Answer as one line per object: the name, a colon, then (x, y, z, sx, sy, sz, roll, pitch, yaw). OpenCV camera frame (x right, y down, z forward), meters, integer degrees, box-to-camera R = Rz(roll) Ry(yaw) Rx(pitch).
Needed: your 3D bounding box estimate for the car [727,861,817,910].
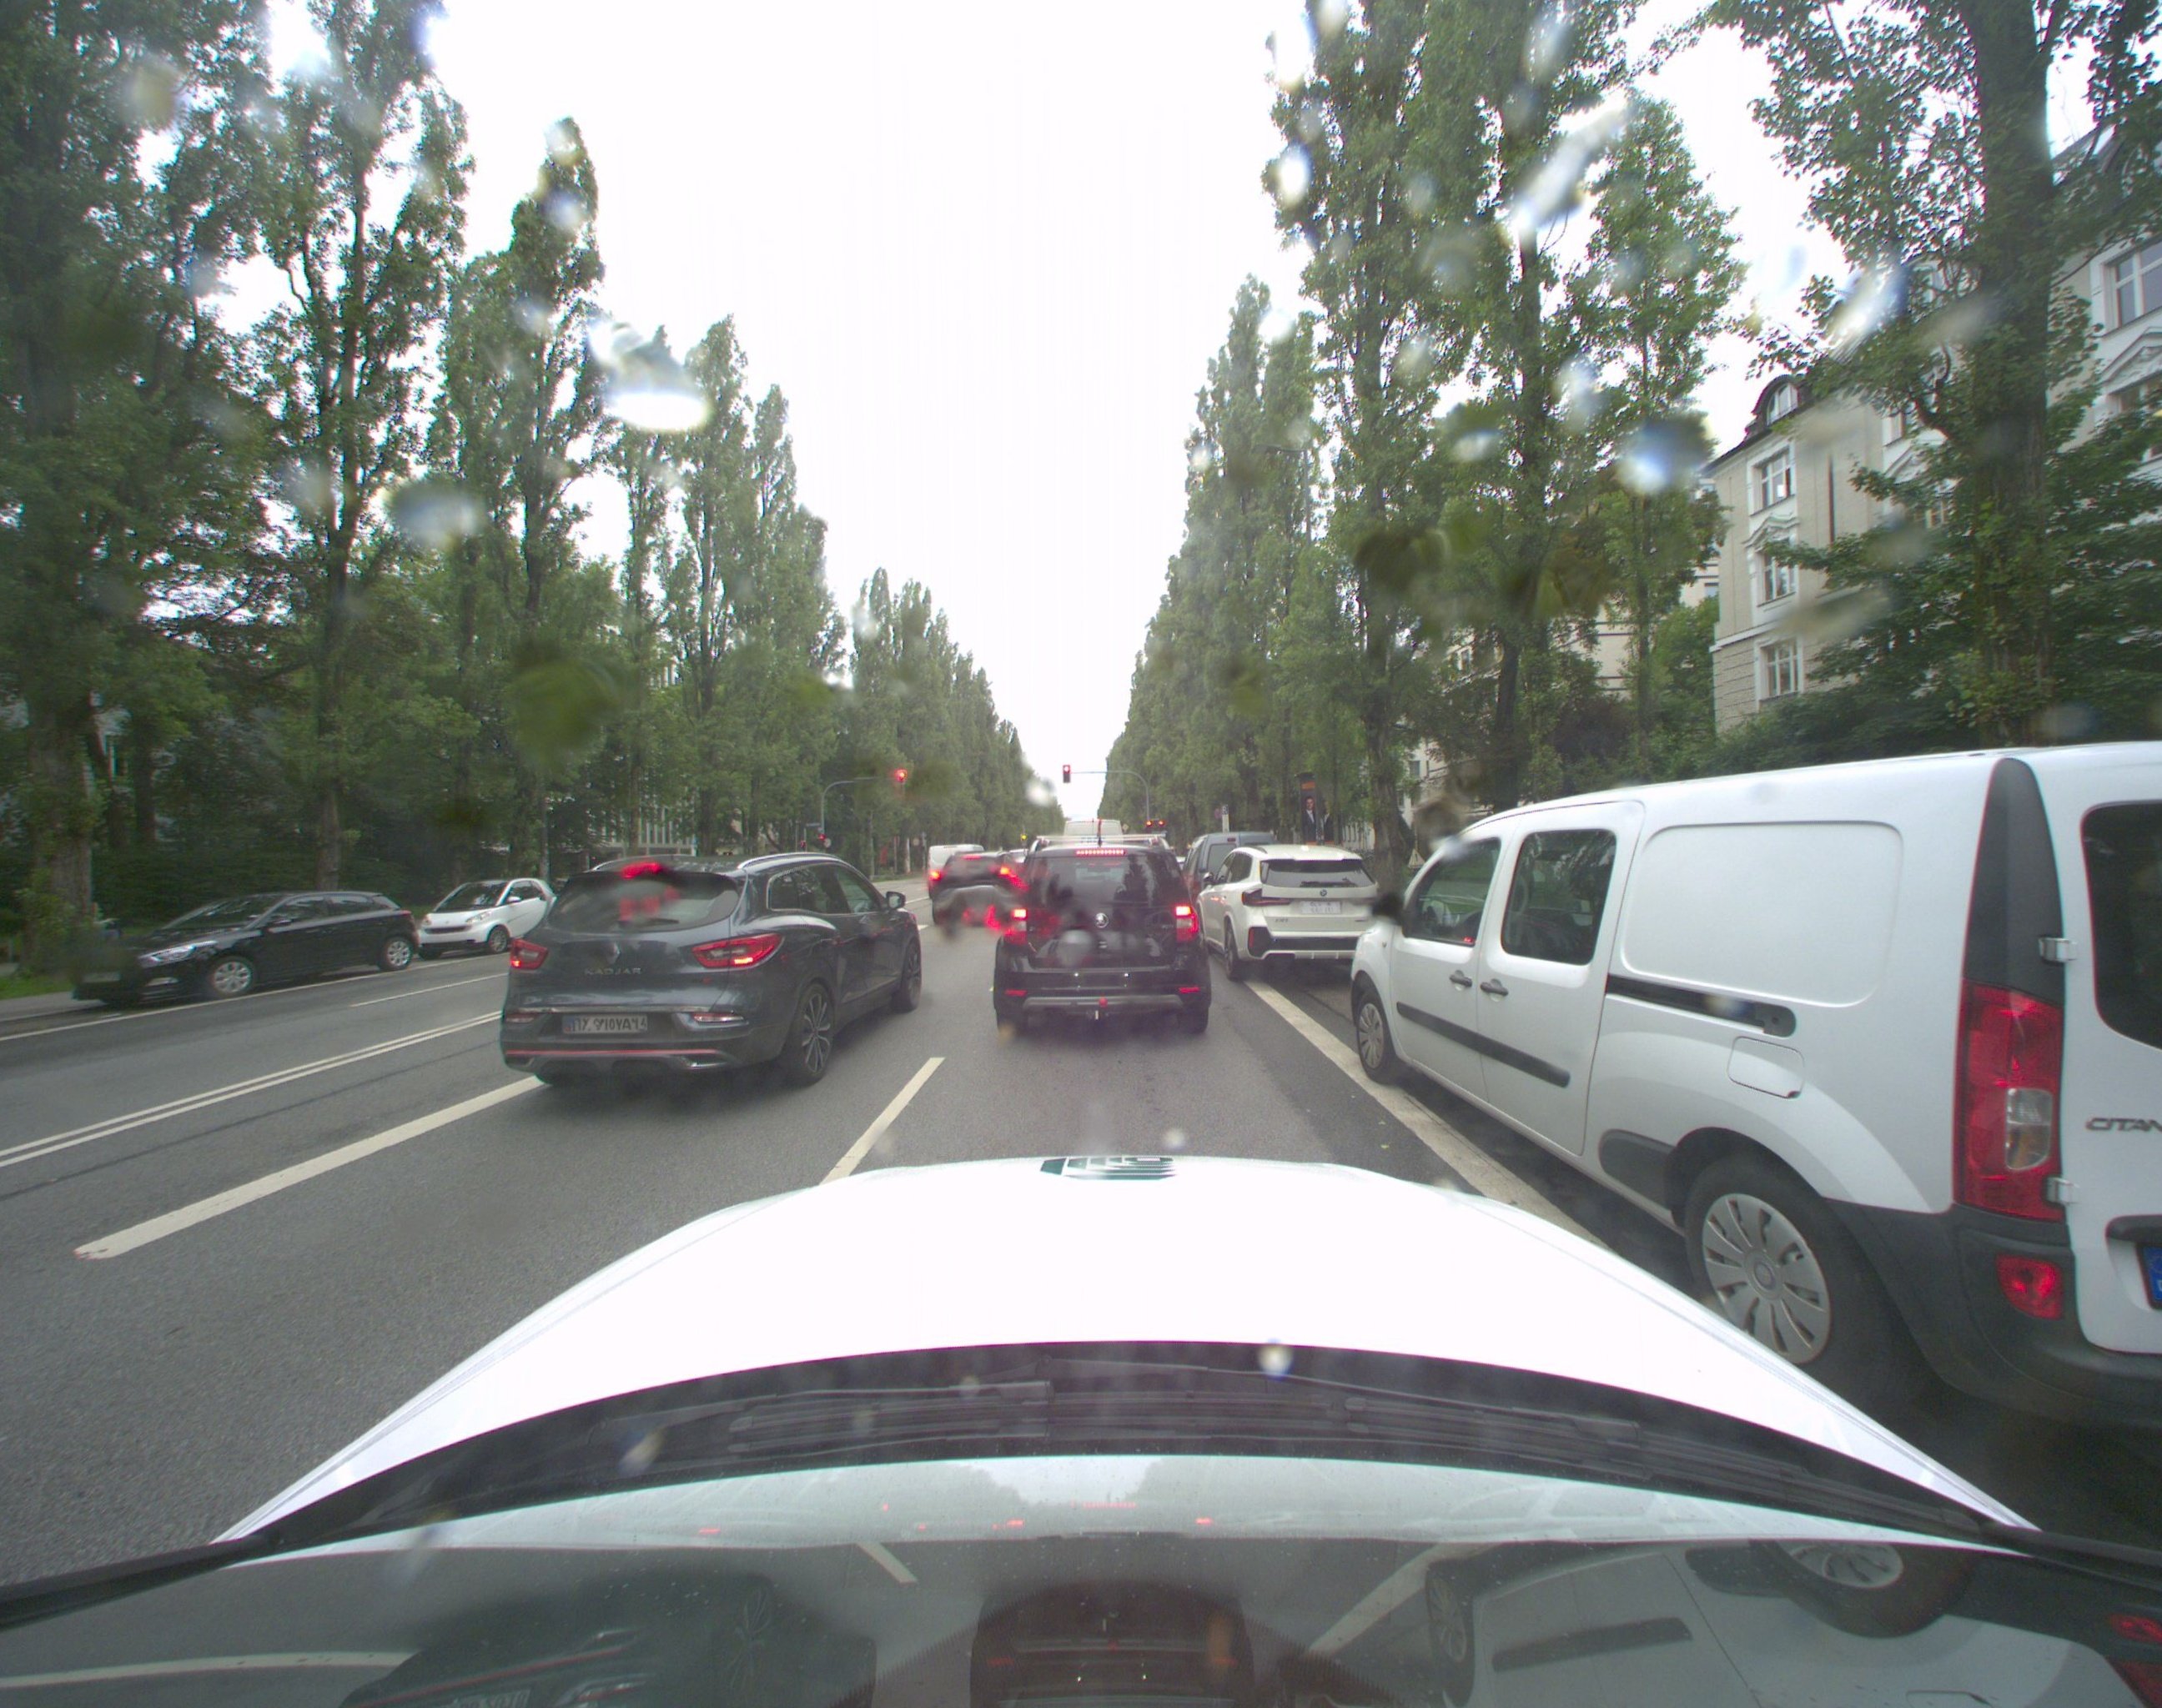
car: (-12.422, 1.208, 33.085, 1.844, 1.654, 4.693, -4, 0, -2)

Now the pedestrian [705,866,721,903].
pedestrian: (-15.371, 1.259, 34.015, 0.463, 1.528, 0.395, -2, 0, 1)

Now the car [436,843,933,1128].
car: (-2.606, 0.729, 6.640, 1.828, 1.586, 4.188, 0, 0, 3)

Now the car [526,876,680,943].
car: (-12.496, 1.389, 21.628, 1.619, 1.389, 4.164, -4, 0, -2)

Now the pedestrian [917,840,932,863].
pedestrian: (-12.304, -0.180, 64.073, 0.875, 1.764, 0.880, -2, 0, 10)

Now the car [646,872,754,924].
car: (-12.551, 1.412, 27.135, 1.619, 1.389, 4.164, -4, 0, -2)

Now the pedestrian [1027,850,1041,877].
pedestrian: (-3.585, 0.714, 62.037, 0.881, 2.013, 1.014, -2, 0, 4)

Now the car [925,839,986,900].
car: (-4.746, 0.554, 31.345, 1.777, 2.111, 4.021, -2, 0, -2)

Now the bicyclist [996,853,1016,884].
bicyclist: (-4.300, 0.809, 46.849, 0.900, 1.722, 0.827, -2, 0, 10)

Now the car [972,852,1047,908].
car: (-2.189, 0.753, 25.963, 1.987, 1.560, 4.000, -2, 1, 0)

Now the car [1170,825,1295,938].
car: (2.858, 0.469, 16.199, 1.729, 1.895, 4.025, -2, 0, 1)

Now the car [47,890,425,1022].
car: (-12.567, 1.414, 12.535, 1.594, 1.425, 3.853, -5, 0, 2)

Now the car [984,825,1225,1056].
car: (0.220, 0.660, 8.242, 1.849, 1.770, 4.001, 0, 0, 1)

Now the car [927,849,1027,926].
car: (-2.342, 0.704, 19.364, 1.775, 1.620, 4.025, -1, 0, 1)

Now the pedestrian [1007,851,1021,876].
pedestrian: (-5.372, 0.749, 64.999, 0.881, 2.013, 1.014, -2, 0, 4)

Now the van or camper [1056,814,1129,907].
van or camper: (0.299, 0.183, 24.950, 1.969, 2.548, 4.023, -2, 0, -1)

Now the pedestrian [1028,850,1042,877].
pedestrian: (-3.569, 0.740, 63.146, 0.881, 2.013, 1.014, -2, 0, 4)

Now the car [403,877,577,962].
car: (-12.519, 1.329, 17.461, 1.423, 1.447, 2.966, -5, 0, 0)

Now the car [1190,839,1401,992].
car: (2.607, 0.653, 10.926, 1.735, 1.593, 4.212, -2, 0, 1)

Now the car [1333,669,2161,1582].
car: (2.759, 0.526, 3.786, 1.845, 1.881, 4.168, -2, 0, 0)

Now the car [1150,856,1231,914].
car: (2.913, 0.781, 22.274, 1.729, 1.387, 3.563, -2, 0, 1)

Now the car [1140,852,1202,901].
car: (2.981, 0.714, 27.577, 1.729, 1.475, 3.563, -2, 0, 1)
